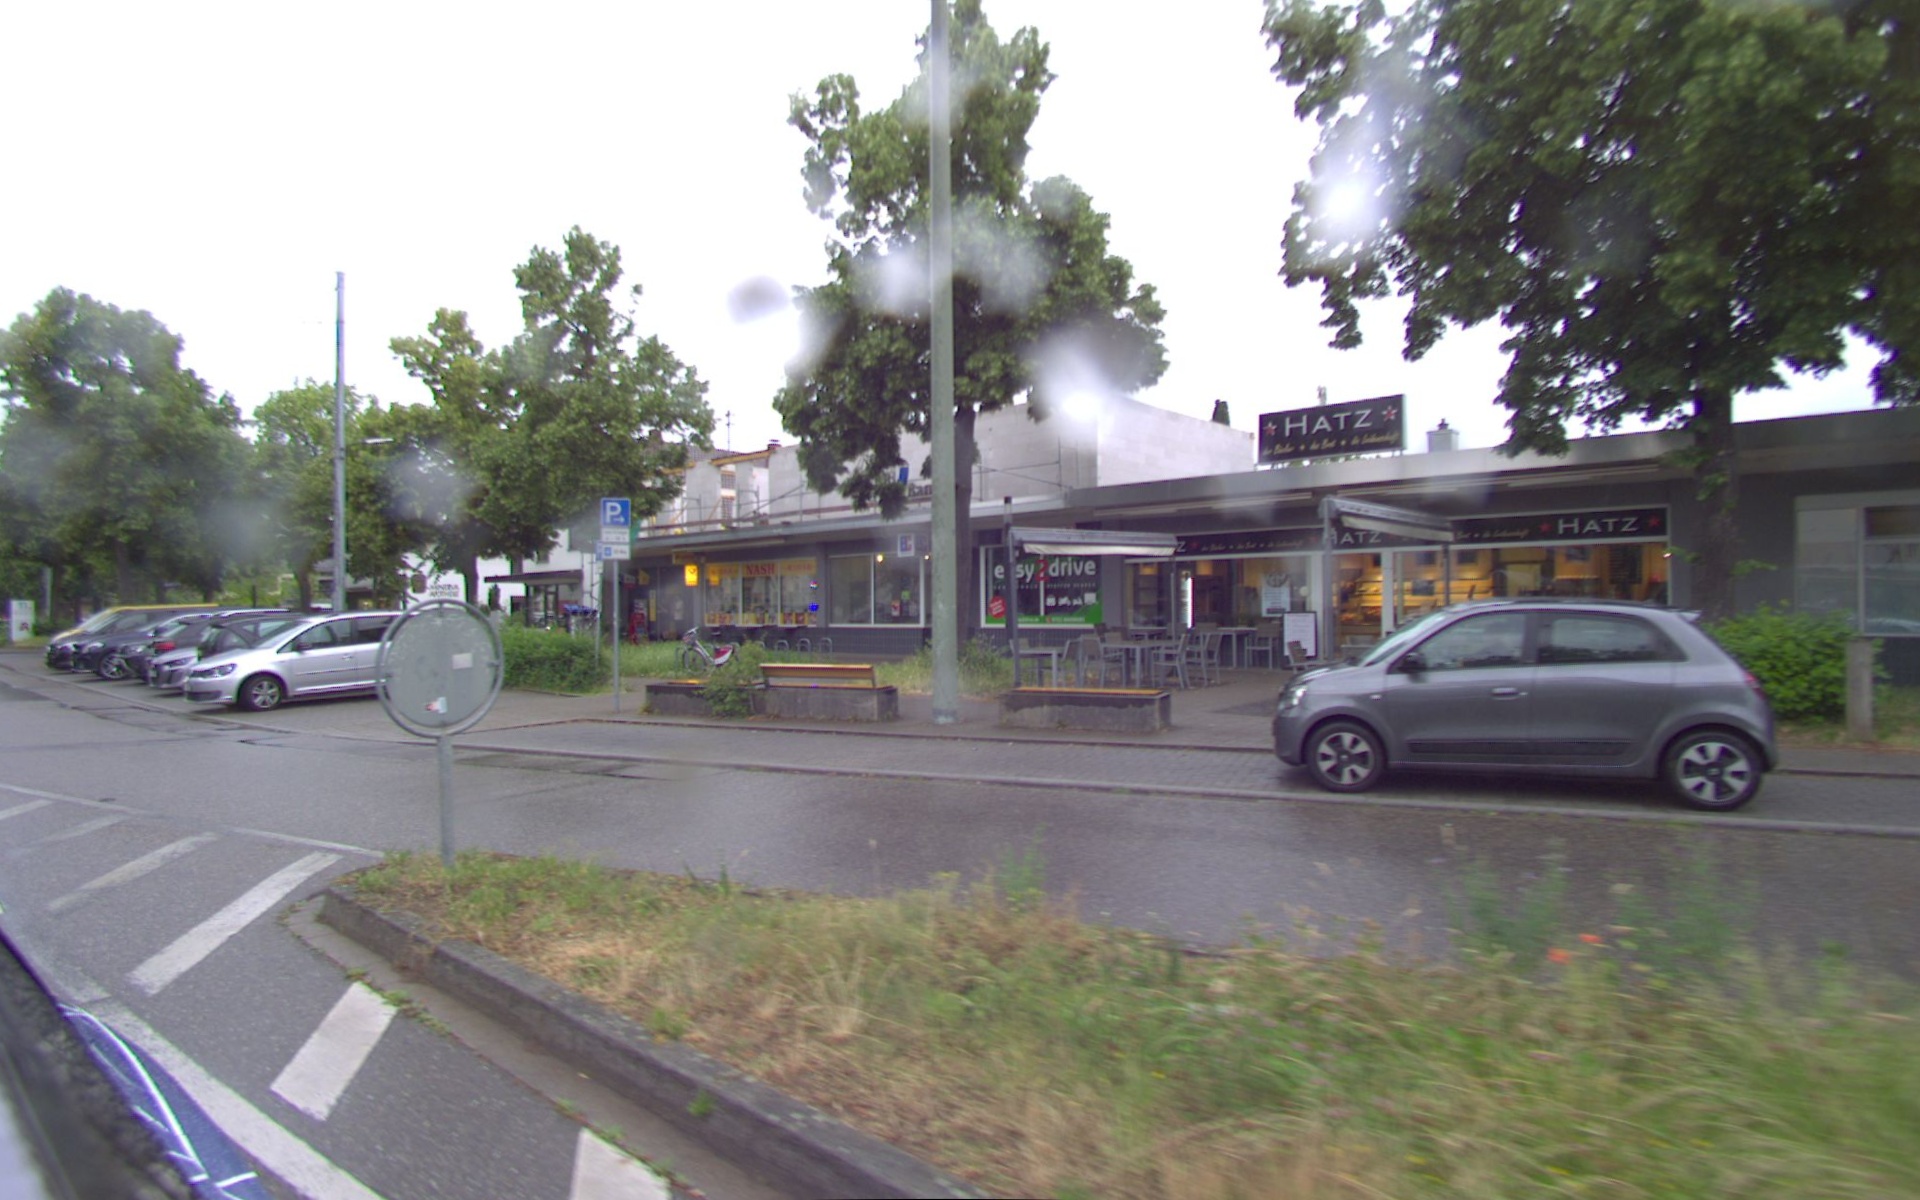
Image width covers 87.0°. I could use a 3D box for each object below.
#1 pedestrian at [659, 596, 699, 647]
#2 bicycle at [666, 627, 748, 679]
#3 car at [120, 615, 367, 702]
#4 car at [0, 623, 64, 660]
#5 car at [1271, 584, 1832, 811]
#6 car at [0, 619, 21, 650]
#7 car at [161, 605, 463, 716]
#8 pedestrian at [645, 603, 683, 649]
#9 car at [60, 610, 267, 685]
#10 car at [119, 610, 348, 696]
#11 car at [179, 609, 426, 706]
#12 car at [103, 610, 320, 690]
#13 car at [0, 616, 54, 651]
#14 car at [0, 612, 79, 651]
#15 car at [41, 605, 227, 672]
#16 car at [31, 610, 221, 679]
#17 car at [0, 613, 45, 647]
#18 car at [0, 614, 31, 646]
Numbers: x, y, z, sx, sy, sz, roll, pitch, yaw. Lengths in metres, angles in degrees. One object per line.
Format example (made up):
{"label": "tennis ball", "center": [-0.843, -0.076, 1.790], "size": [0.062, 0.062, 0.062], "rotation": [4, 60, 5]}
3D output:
{"label": "pedestrian", "center": [-9.838, 0.739, 35.397], "size": [1.063, 1.727, 0.950], "rotation": [0, 0, -38]}
{"label": "bicycle", "center": [-5.434, 1.134, 21.731], "size": [1.740, 1.080, 0.589], "rotation": [-1, -2, 24]}
{"label": "car", "center": [-15.554, 1.195, 22.126], "size": [1.998, 1.583, 4.037], "rotation": [-2, 0, 40]}
{"label": "car", "center": [-53.112, 2.349, 56.435], "size": [1.897, 1.957, 4.489], "rotation": [-2, 0, 40]}
{"label": "car", "center": [4.513, 0.690, 8.259], "size": [3.600, 1.514, 1.540], "rotation": [-2, 1, 24]}
{"label": "car", "center": [-64.333, 2.314, 65.887], "size": [1.897, 1.957, 4.489], "rotation": [-2, 0, 40]}
{"label": "car", "center": [-11.795, 1.009, 18.665], "size": [1.998, 1.686, 4.280], "rotation": [-2, 0, 40]}
{"label": "pedestrian", "center": [-10.628, 0.914, 36.341], "size": [1.063, 1.596, 0.950], "rotation": [0, 0, -38]}
{"label": "car", "center": [-21.220, 1.199, 27.093], "size": [1.897, 1.722, 4.037], "rotation": [-2, 0, 40]}
{"label": "car", "center": [-17.065, 1.170, 23.929], "size": [1.897, 1.722, 4.037], "rotation": [-2, 0, 40]}
{"label": "car", "center": [-13.442, 1.104, 20.853], "size": [1.792, 1.686, 3.895], "rotation": [-2, 0, 40]}
{"label": "car", "center": [-18.670, 1.189, 25.374], "size": [1.897, 1.722, 4.037], "rotation": [-2, 0, 40]}
{"label": "car", "center": [-55.118, 1.955, 58.014], "size": [1.897, 1.957, 4.489], "rotation": [-2, 0, 40]}
{"label": "car", "center": [-50.824, 1.707, 54.734], "size": [1.897, 1.957, 4.489], "rotation": [-2, 0, 40]}
{"label": "car", "center": [-27.410, 1.208, 33.699], "size": [1.897, 1.957, 4.489], "rotation": [-2, 0, 40]}
{"label": "car", "center": [-25.645, 1.312, 31.240], "size": [1.897, 1.823, 4.249], "rotation": [-2, 0, 40]}
{"label": "car", "center": [-58.352, 1.876, 61.025], "size": [1.897, 1.957, 4.489], "rotation": [-2, 0, 40]}
{"label": "car", "center": [-61.294, 1.945, 63.296], "size": [1.897, 1.957, 4.489], "rotation": [-2, 0, 40]}
